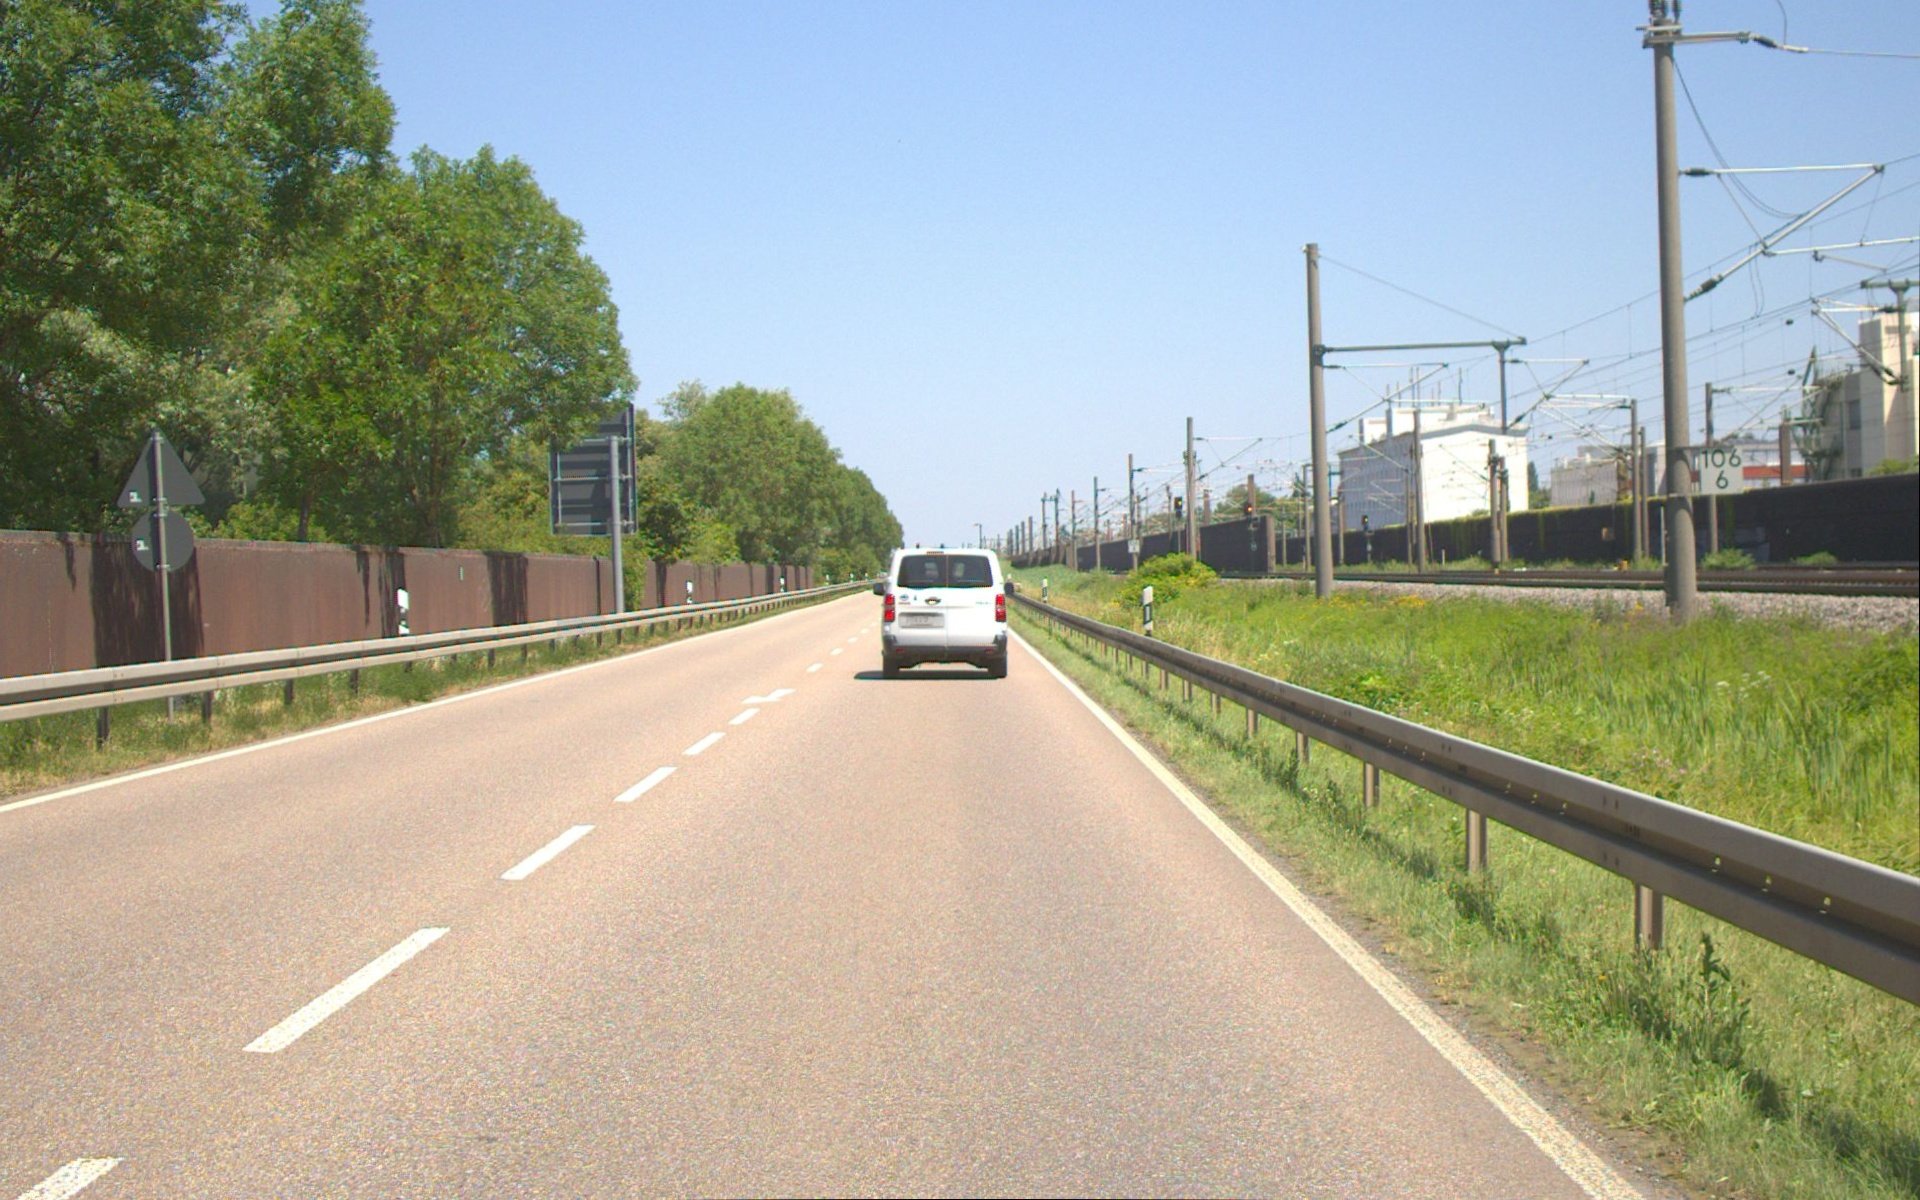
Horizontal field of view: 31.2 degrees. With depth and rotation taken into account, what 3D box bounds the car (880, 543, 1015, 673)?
[{"bbox_3d":[-0.191,0.108,52.052,1.946,1.875,4.881,0,0,0],"label":"car"}]
